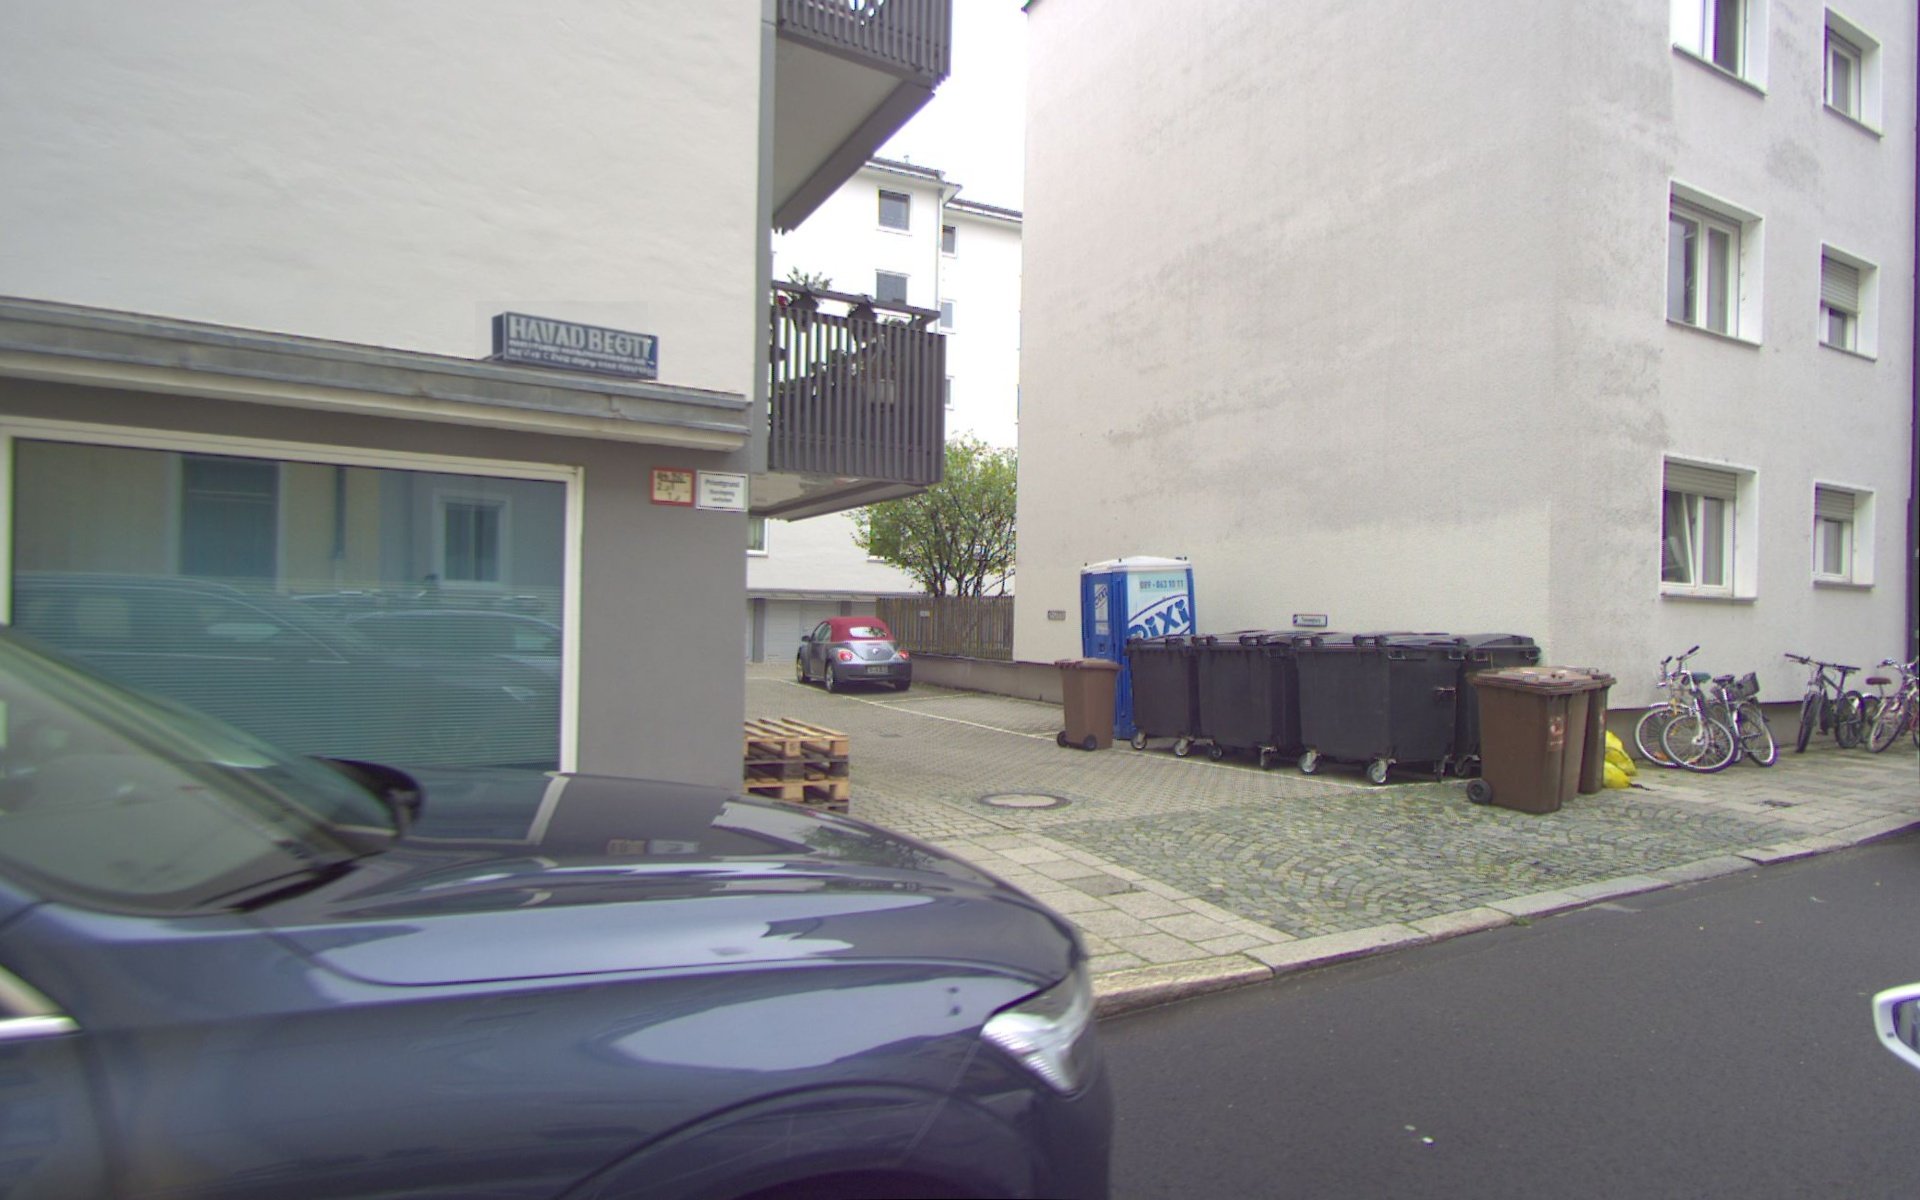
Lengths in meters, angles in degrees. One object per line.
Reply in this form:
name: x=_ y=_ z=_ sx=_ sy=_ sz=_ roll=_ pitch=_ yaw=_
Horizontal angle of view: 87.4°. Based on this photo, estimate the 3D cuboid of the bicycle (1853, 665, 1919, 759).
bicycle: x=11.018 y=1.283 z=11.706 sx=1.636 sy=0.995 sz=0.394 roll=1 pitch=1 yaw=-30

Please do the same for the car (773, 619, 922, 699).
car: x=-2.575 y=1.195 z=21.895 sx=1.874 sy=1.455 sz=4.490 roll=-1 pitch=0 yaw=-26

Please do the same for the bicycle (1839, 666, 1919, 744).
bicycle: x=11.680 y=1.301 z=12.652 sx=1.595 sy=0.881 sz=0.394 roll=1 pitch=1 yaw=-30

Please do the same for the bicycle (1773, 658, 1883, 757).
bicycle: x=10.161 y=1.226 z=11.743 sx=1.739 sy=1.065 sz=0.394 roll=1 pitch=1 yaw=-30

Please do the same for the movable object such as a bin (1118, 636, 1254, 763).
movable object such as a bin: x=2.580 y=1.107 z=11.575 sx=0.980 sy=1.354 sz=1.227 roll=1 pitch=-3 yaw=-26

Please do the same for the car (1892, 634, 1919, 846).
car: x=9.144 y=1.011 z=7.587 sx=4.464 sy=1.506 sz=1.769 roll=1 pitch=-3 yaw=-29

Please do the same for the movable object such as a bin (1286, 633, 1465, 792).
movable object such as a bin: x=3.850 y=1.002 z=9.384 sx=1.012 sy=1.354 sz=1.162 roll=1 pitch=-3 yaw=-26

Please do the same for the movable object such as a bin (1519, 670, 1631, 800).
movable object such as a bin: x=5.455 y=1.173 z=8.922 sx=0.579 sy=1.034 sz=0.645 roll=1 pitch=1 yaw=-35

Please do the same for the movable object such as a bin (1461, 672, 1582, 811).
movable object such as a bin: x=4.483 y=1.099 z=8.033 sx=0.579 sy=1.034 sz=0.646 roll=2 pitch=-3 yaw=-35

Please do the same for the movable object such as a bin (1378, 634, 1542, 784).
movable object such as a bin: x=4.844 y=1.018 z=9.783 sx=0.980 sy=1.354 sz=1.044 roll=1 pitch=-3 yaw=-26

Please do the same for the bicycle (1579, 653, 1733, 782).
bicycle: x=6.951 y=1.121 z=9.989 sx=2.107 sy=1.082 sz=0.394 roll=-1 pitch=2 yaw=-31

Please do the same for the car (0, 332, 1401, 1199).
car: x=-1.643 y=0.627 z=1.248 sx=4.361 sy=1.651 sz=1.769 roll=1 pitch=-2 yaw=-29

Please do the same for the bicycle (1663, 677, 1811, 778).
bicycle: x=7.881 y=1.258 z=10.152 sx=2.107 sy=0.881 sz=0.394 roll=2 pitch=1 yaw=-30

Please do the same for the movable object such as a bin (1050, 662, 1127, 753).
movable object such as a bin: x=1.552 y=1.285 z=12.192 sx=0.688 sy=1.058 sz=0.648 roll=1 pitch=-3 yaw=-26

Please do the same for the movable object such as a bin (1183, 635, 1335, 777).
movable object such as a bin: x=3.060 y=1.052 z=10.366 sx=0.980 sy=1.354 sz=1.154 roll=1 pitch=-3 yaw=-26

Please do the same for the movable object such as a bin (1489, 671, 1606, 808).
movable object such as a bin: x=4.971 y=1.151 z=8.511 sx=0.579 sy=1.034 sz=0.645 roll=1 pitch=1 yaw=-35
